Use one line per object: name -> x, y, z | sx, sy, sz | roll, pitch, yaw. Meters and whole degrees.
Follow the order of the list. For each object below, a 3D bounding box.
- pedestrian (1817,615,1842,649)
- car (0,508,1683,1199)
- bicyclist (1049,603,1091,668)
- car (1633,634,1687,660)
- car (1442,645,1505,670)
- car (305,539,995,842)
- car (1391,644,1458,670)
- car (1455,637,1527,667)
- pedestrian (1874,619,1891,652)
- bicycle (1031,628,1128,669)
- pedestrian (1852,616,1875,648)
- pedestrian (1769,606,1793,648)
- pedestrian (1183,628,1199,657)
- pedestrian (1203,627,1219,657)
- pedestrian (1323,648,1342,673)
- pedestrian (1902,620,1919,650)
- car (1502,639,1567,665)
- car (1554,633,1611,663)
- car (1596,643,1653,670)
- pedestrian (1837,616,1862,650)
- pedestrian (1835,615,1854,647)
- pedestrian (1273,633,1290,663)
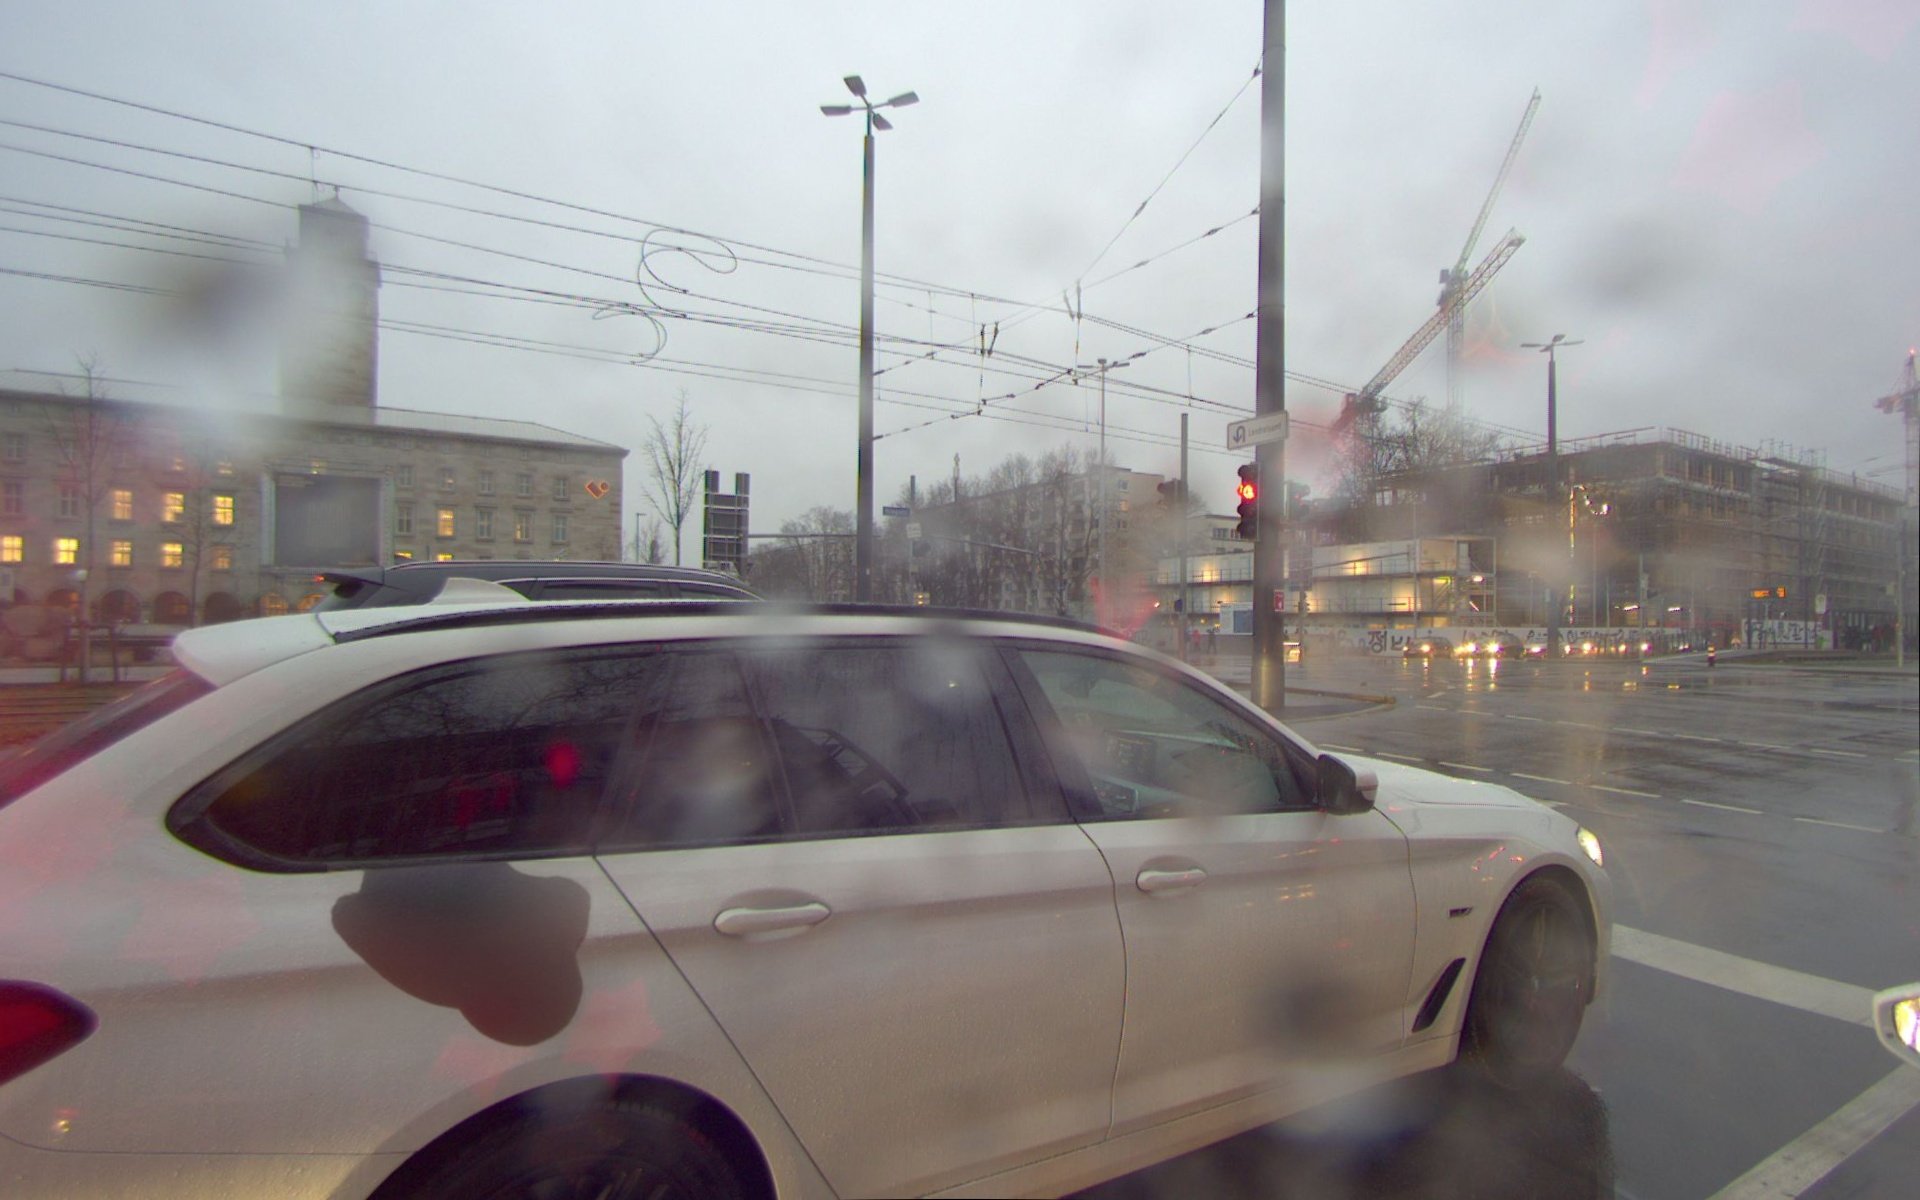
pedestrian -> 53.319, 1.987, 61.603 | 1.084, 2.040, 0.935 | 2, 0, -37
car -> 0.011, 0.707, 3.091 | 4.508, 1.506, 2.007 | 2, -2, -31
bicyclist -> 3.313, 1.052, 30.219 | 1.137, 1.896, 0.745 | 2, 0, 0
car -> 51.639, 3.447, 74.063 | 3.960, 1.814, 1.981 | 2, 0, -35
car -> 34.444, 3.843, 67.427 | 3.953, 1.550, 1.984 | 2, -2, -30
car -> -2.067, 0.555, 7.228 | 4.238, 1.605, 1.958 | 2, -1, -29
car -> 29.410, 3.580, 63.630 | 3.953, 1.550, 1.984 | 2, -2, -30
car -> 31.167, 3.050, 58.959 | 3.953, 1.679, 1.984 | 2, -2, -30
pedestrian -> 57.908, 2.220, 63.060 | 0.659, 1.994, 0.566 | 2, 1, -36
bicycle -> 3.579, 1.454, 30.222 | 2.809, 1.114, 0.745 | 2, 0, 1
pedestrian -> 54.791, 1.938, 60.914 | 0.754, 1.922, 0.761 | 3, -1, -30
pedestrian -> 47.243, 1.557, 57.802 | 0.754, 2.354, 0.761 | 3, -1, -30
pedestrian -> 16.240, 2.976, 70.499 | 0.620, 2.040, 0.856 | 2, 0, -37
pedestrian -> 17.484, 2.915, 69.927 | 0.737, 2.040, 0.783 | 2, 0, -25
pedestrian -> 21.753, 3.547, 58.650 | 0.712, 1.407, 0.729 | 2, 0, -11
pedestrian -> 66.070, 2.412, 69.634 | 1.084, 2.040, 0.935 | 2, 0, -37
car -> 35.878, 3.244, 62.715 | 4.577, 1.550, 2.059 | 2, -2, -40
car -> 41.141, 3.162, 66.373 | 3.963, 1.852, 1.852 | 2, 0, -37
car -> 47.021, 3.985, 71.057 | 3.960, 1.814, 1.981 | 2, 0, -35
pedestrian -> 55.472, 2.058, 62.623 | 1.084, 2.040, 0.935 | 2, 0, -37
pedestrian -> 54.308, 1.915, 61.691 | 0.547, 1.906, 0.695 | 2, 0, -30
pedestrian -> 23.525, 3.506, 73.456 | 0.758, 2.194, 0.867 | 2, 0, -38
